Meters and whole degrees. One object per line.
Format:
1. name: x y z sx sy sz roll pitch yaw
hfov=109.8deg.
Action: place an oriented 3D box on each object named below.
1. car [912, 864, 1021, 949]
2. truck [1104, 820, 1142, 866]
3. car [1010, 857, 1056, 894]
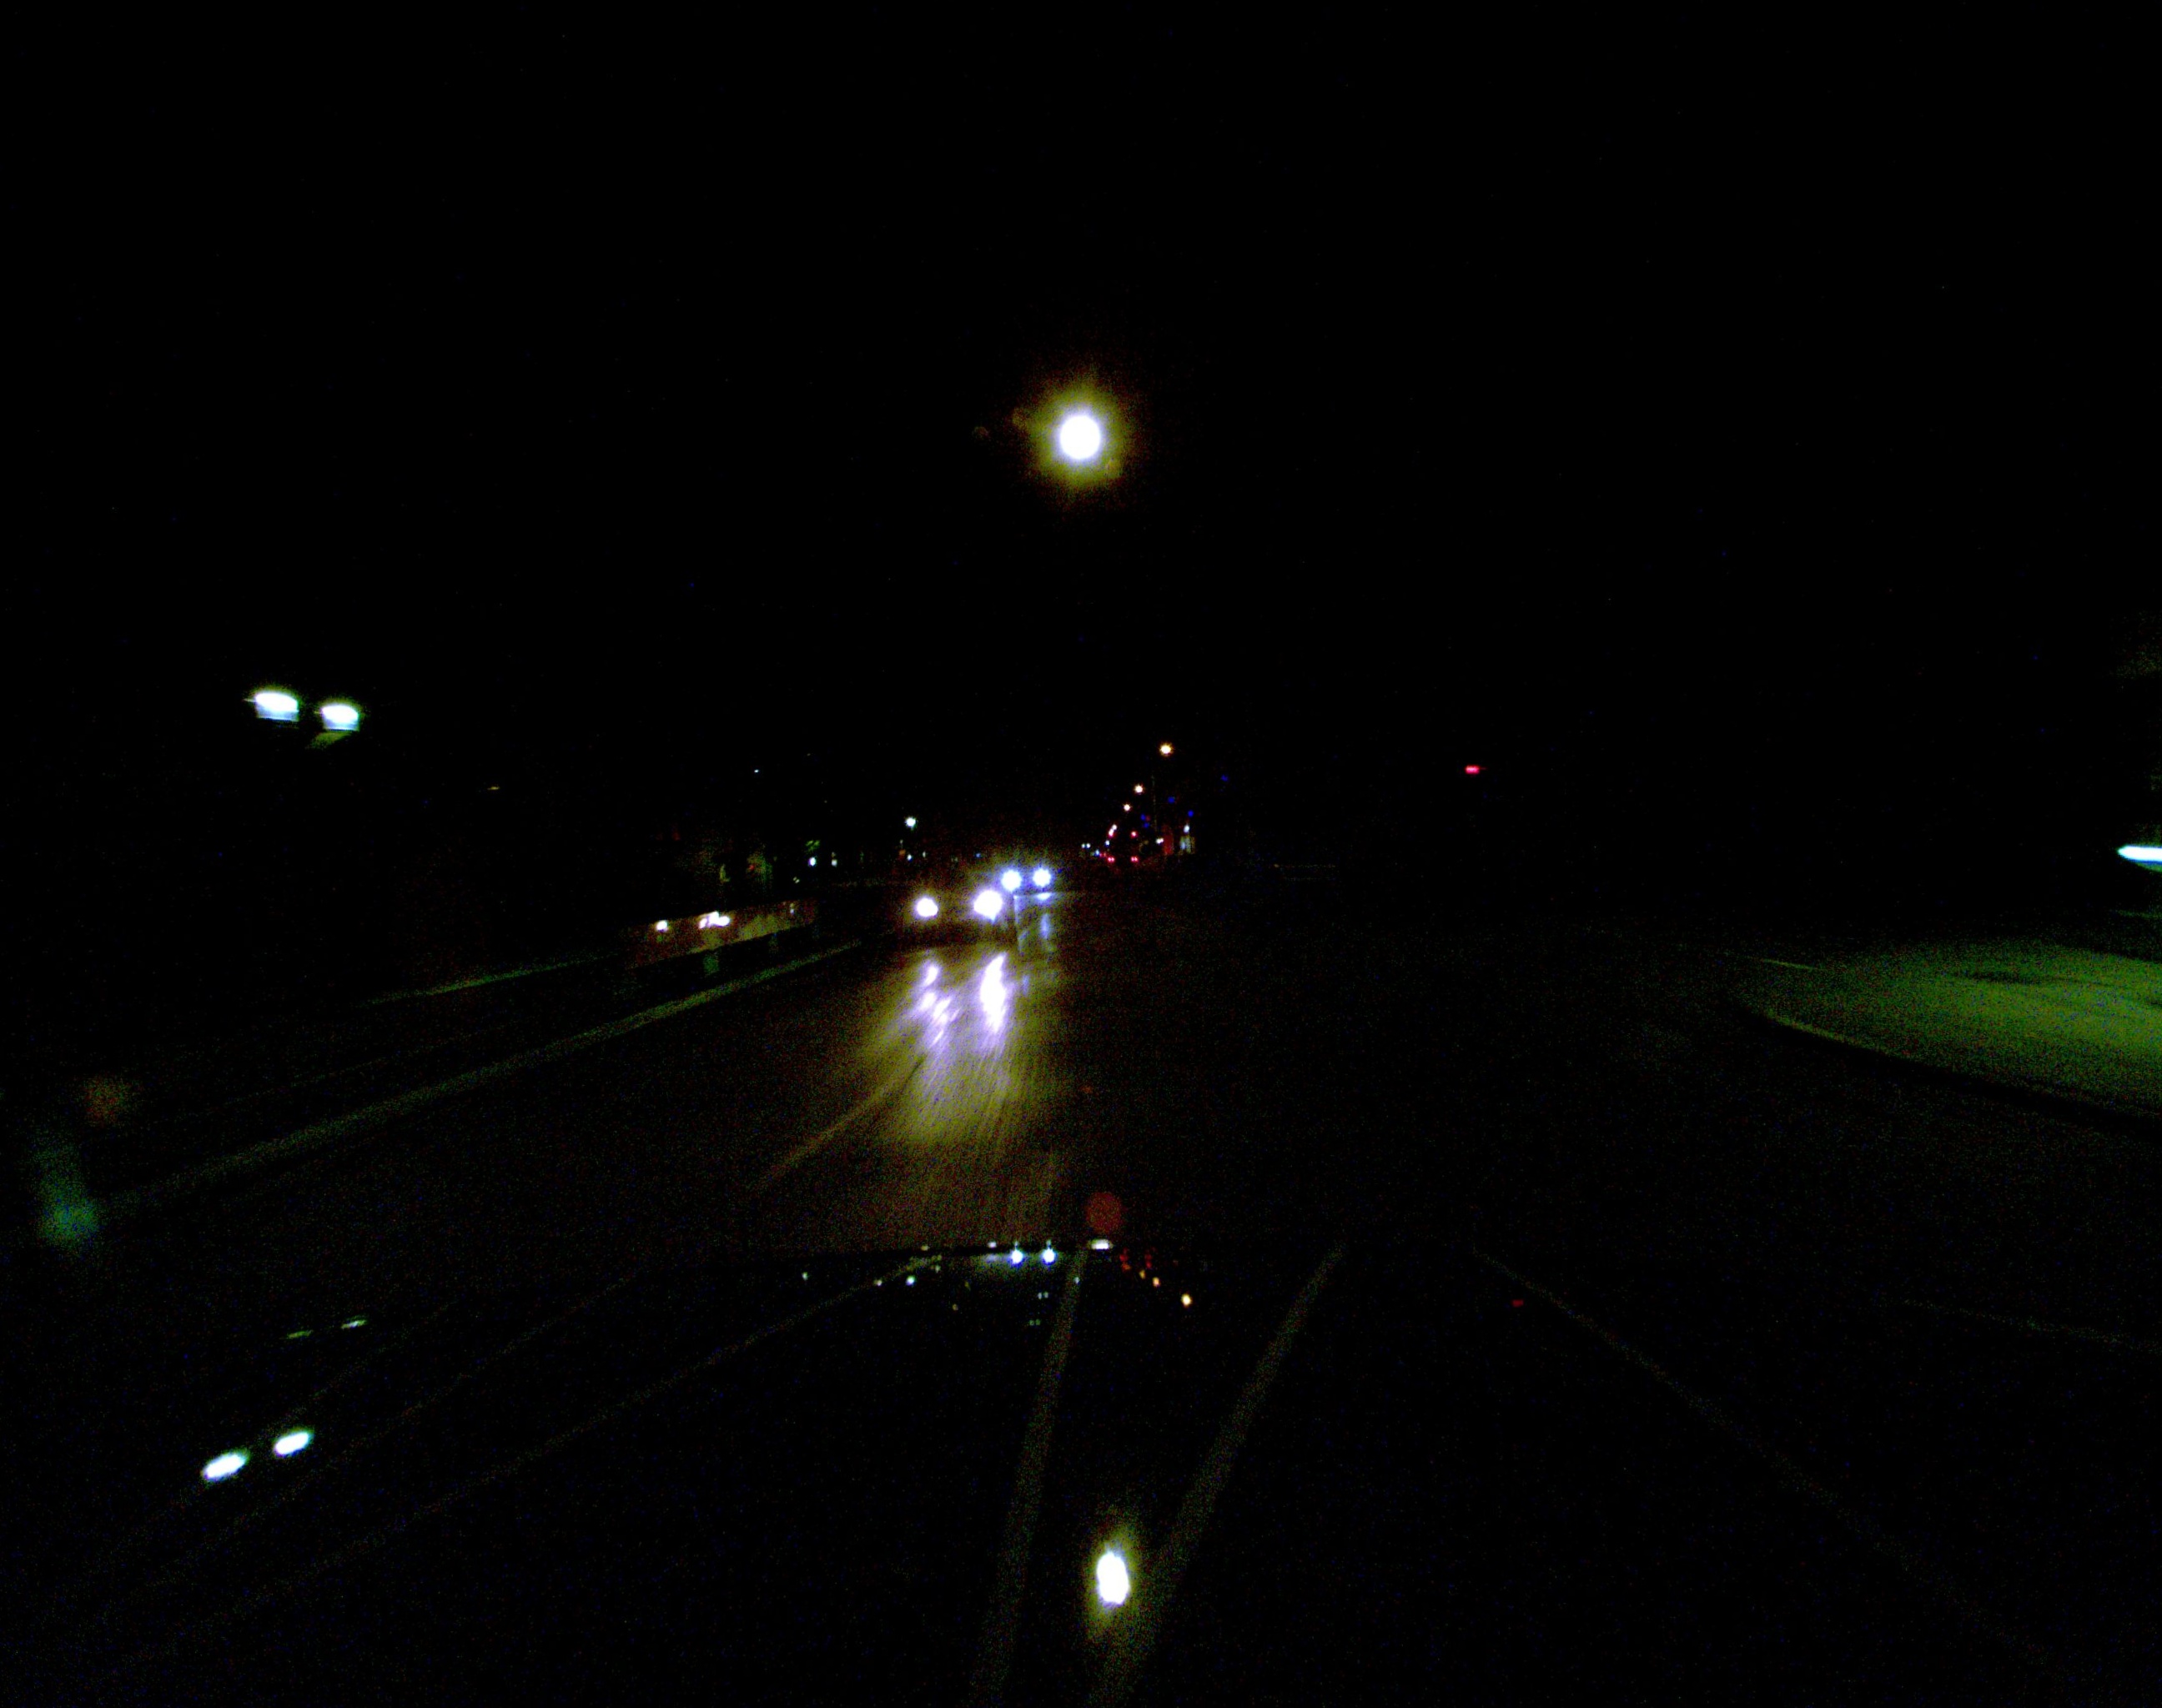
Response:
1. car: -2.351 1.038 16.541 1.634 1.430 3.840 -5 0 1
2. truck: 4.567 -1.208 83.983 3.516 4.557 9.040 -4 0 1
3. car: -2.197 0.948 35.524 1.729 1.454 4.000 -5 0 1
